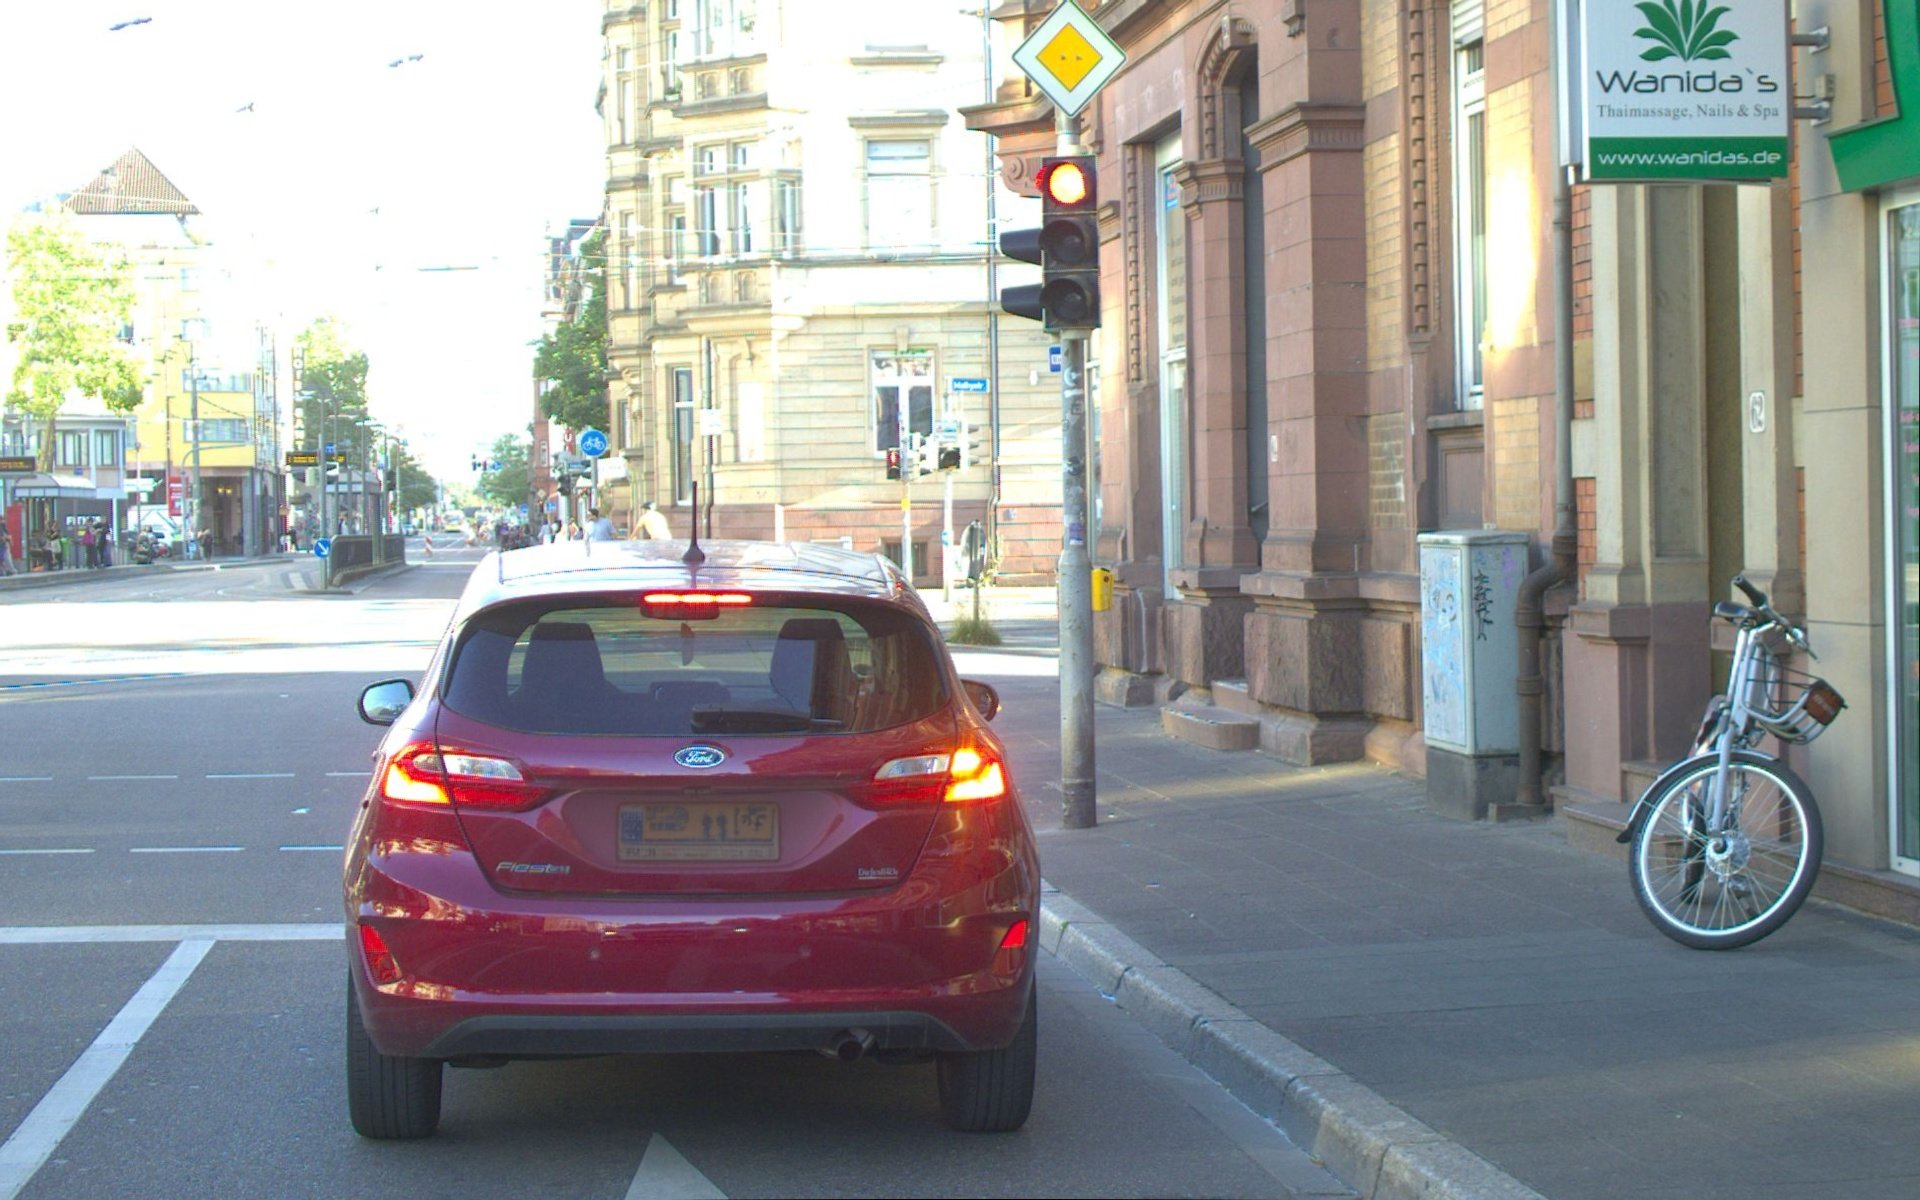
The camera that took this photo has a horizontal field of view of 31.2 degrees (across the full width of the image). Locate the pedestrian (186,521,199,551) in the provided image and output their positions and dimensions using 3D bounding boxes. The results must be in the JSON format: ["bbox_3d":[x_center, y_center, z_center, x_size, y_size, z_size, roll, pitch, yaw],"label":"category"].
[{"bbox_3d":[-37.722,-3.142,169.014,0.524,1.483,0.583,-1,1,-5],"label":"pedestrian"}]

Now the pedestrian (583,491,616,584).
[{"bbox_3d":[-7.838,-1.353,74.739,0.651,2.007,0.760,-1,1,-8],"label":"pedestrian"}]

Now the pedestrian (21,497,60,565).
[{"bbox_3d":[-27.520,-2.070,102.895,0.956,2.007,1.049,-1,1,-7],"label":"pedestrian"}]

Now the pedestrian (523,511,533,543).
[{"bbox_3d":[-25.508,-4.315,203.054,0.577,1.880,0.631,-1,1,-7],"label":"pedestrian"}]

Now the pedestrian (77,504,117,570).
[{"bbox_3d":[-26.392,-1.923,105.140,1.045,2.007,0.959,-1,1,-9],"label":"pedestrian"}]

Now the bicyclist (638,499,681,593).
[{"bbox_3d":[-5.380,-0.961,61.544,0.544,1.670,0.500,0,2,33],"label":"bicyclist"}]

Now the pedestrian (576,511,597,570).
[{"bbox_3d":[-12.662,-2.014,116.591,0.646,2.007,0.683,-1,1,-7],"label":"pedestrian"}]

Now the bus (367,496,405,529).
[{"bbox_3d":[-36.494,-5.558,218.782,1.925,2.006,7.139,-1,2,-6],"label":"bus"}]

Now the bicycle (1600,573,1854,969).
[{"bbox_3d":[2.513,0.523,11.365,0.716,1.148,1.654,-2,2,11],"label":"bicycle"}]

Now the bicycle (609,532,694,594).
[{"bbox_3d":[-5.536,-0.664,61.652,1.484,1.085,0.527,0,2,33],"label":"bicycle"}]

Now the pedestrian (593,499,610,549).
[{"bbox_3d":[-14.337,-3.042,137.562,0.577,2.007,0.631,-1,1,-1],"label":"pedestrian"}]

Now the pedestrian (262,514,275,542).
[{"bbox_3d":[-39.869,-4.144,198.190,0.628,1.598,0.579,-2,1,-24],"label":"pedestrian"}]

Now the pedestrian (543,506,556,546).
[{"bbox_3d":[-20.643,-3.712,172.819,0.577,2.007,0.631,-1,1,-6],"label":"pedestrian"}]

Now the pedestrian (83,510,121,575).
[{"bbox_3d":[-26.863,-1.806,107.647,1.045,2.007,0.959,-1,1,-9],"label":"pedestrian"}]

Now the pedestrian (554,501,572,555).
[{"bbox_3d":[-15.004,-2.728,130.033,0.577,2.007,0.631,-1,1,-1],"label":"pedestrian"}]

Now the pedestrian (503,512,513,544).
[{"bbox_3d":[-27.241,-4.340,207.321,0.577,1.880,0.670,-1,1,-7],"label":"pedestrian"}]

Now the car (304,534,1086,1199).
[{"bbox_3d":[-0.894,0.558,9.699,1.753,1.461,3.946,0,1,-9],"label":"car"}]

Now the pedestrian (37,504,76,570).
[{"bbox_3d":[-28.053,-1.960,106.801,1.045,2.007,0.959,-1,1,-9],"label":"pedestrian"}]
